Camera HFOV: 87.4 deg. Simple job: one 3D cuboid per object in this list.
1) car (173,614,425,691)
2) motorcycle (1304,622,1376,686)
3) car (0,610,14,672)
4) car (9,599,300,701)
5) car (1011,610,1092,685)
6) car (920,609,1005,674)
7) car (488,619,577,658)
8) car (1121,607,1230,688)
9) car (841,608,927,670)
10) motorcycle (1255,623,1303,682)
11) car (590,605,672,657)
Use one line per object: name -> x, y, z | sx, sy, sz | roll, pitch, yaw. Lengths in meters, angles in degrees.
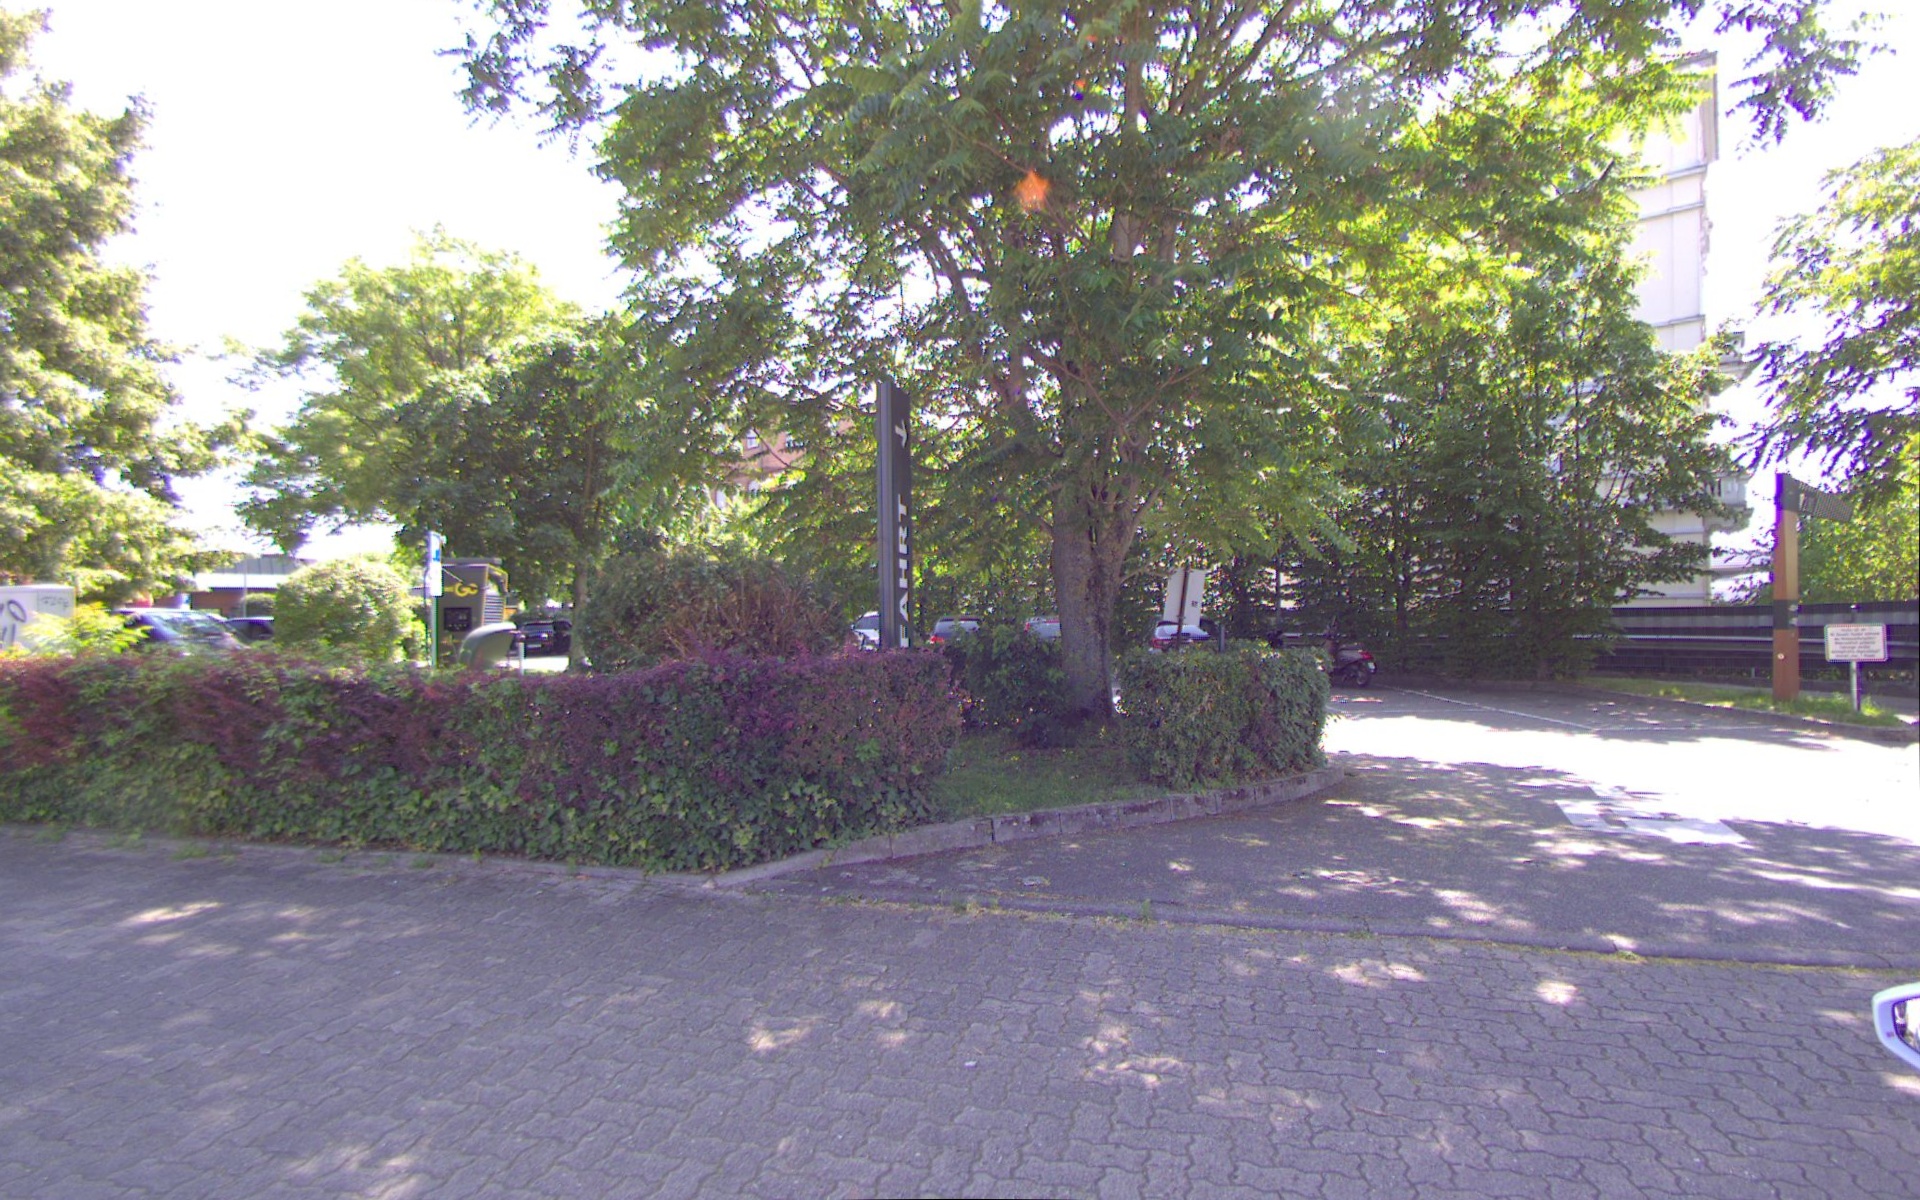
car -> -13.462, 1.058, 20.533 | 4.279, 1.471, 1.864 | 0, -3, 14
motorcycle -> 7.451, 1.032, 19.766 | 0.560, 1.184, 1.603 | -1, -1, -10
car -> -27.331, 1.087, 25.873 | 1.825, 1.708, 4.313 | 0, -1, 0
car -> -14.548, 0.899, 18.218 | 4.279, 1.708, 1.864 | 0, -3, 14
car -> 2.100, 1.012, 22.991 | 1.670, 1.472, 4.002 | -1, 0, 5
car -> 0.141, 1.039, 26.615 | 1.738, 1.489, 4.002 | -1, 0, 7
car -> -16.786, 1.479, 39.646 | 1.739, 1.407, 4.000 | -1, -1, 0
car -> 4.482, 0.931, 21.375 | 1.628, 1.489, 3.905 | -1, 0, 3
car -> -2.072, 1.051, 28.607 | 1.738, 1.593, 4.002 | -1, 0, 6
motorcycle -> 6.620, 1.073, 20.903 | 0.465, 1.156, 1.605 | -1, -1, 0
car -> -12.416, 1.128, 38.181 | 1.739, 1.757, 4.000 | -3, 0, 0
